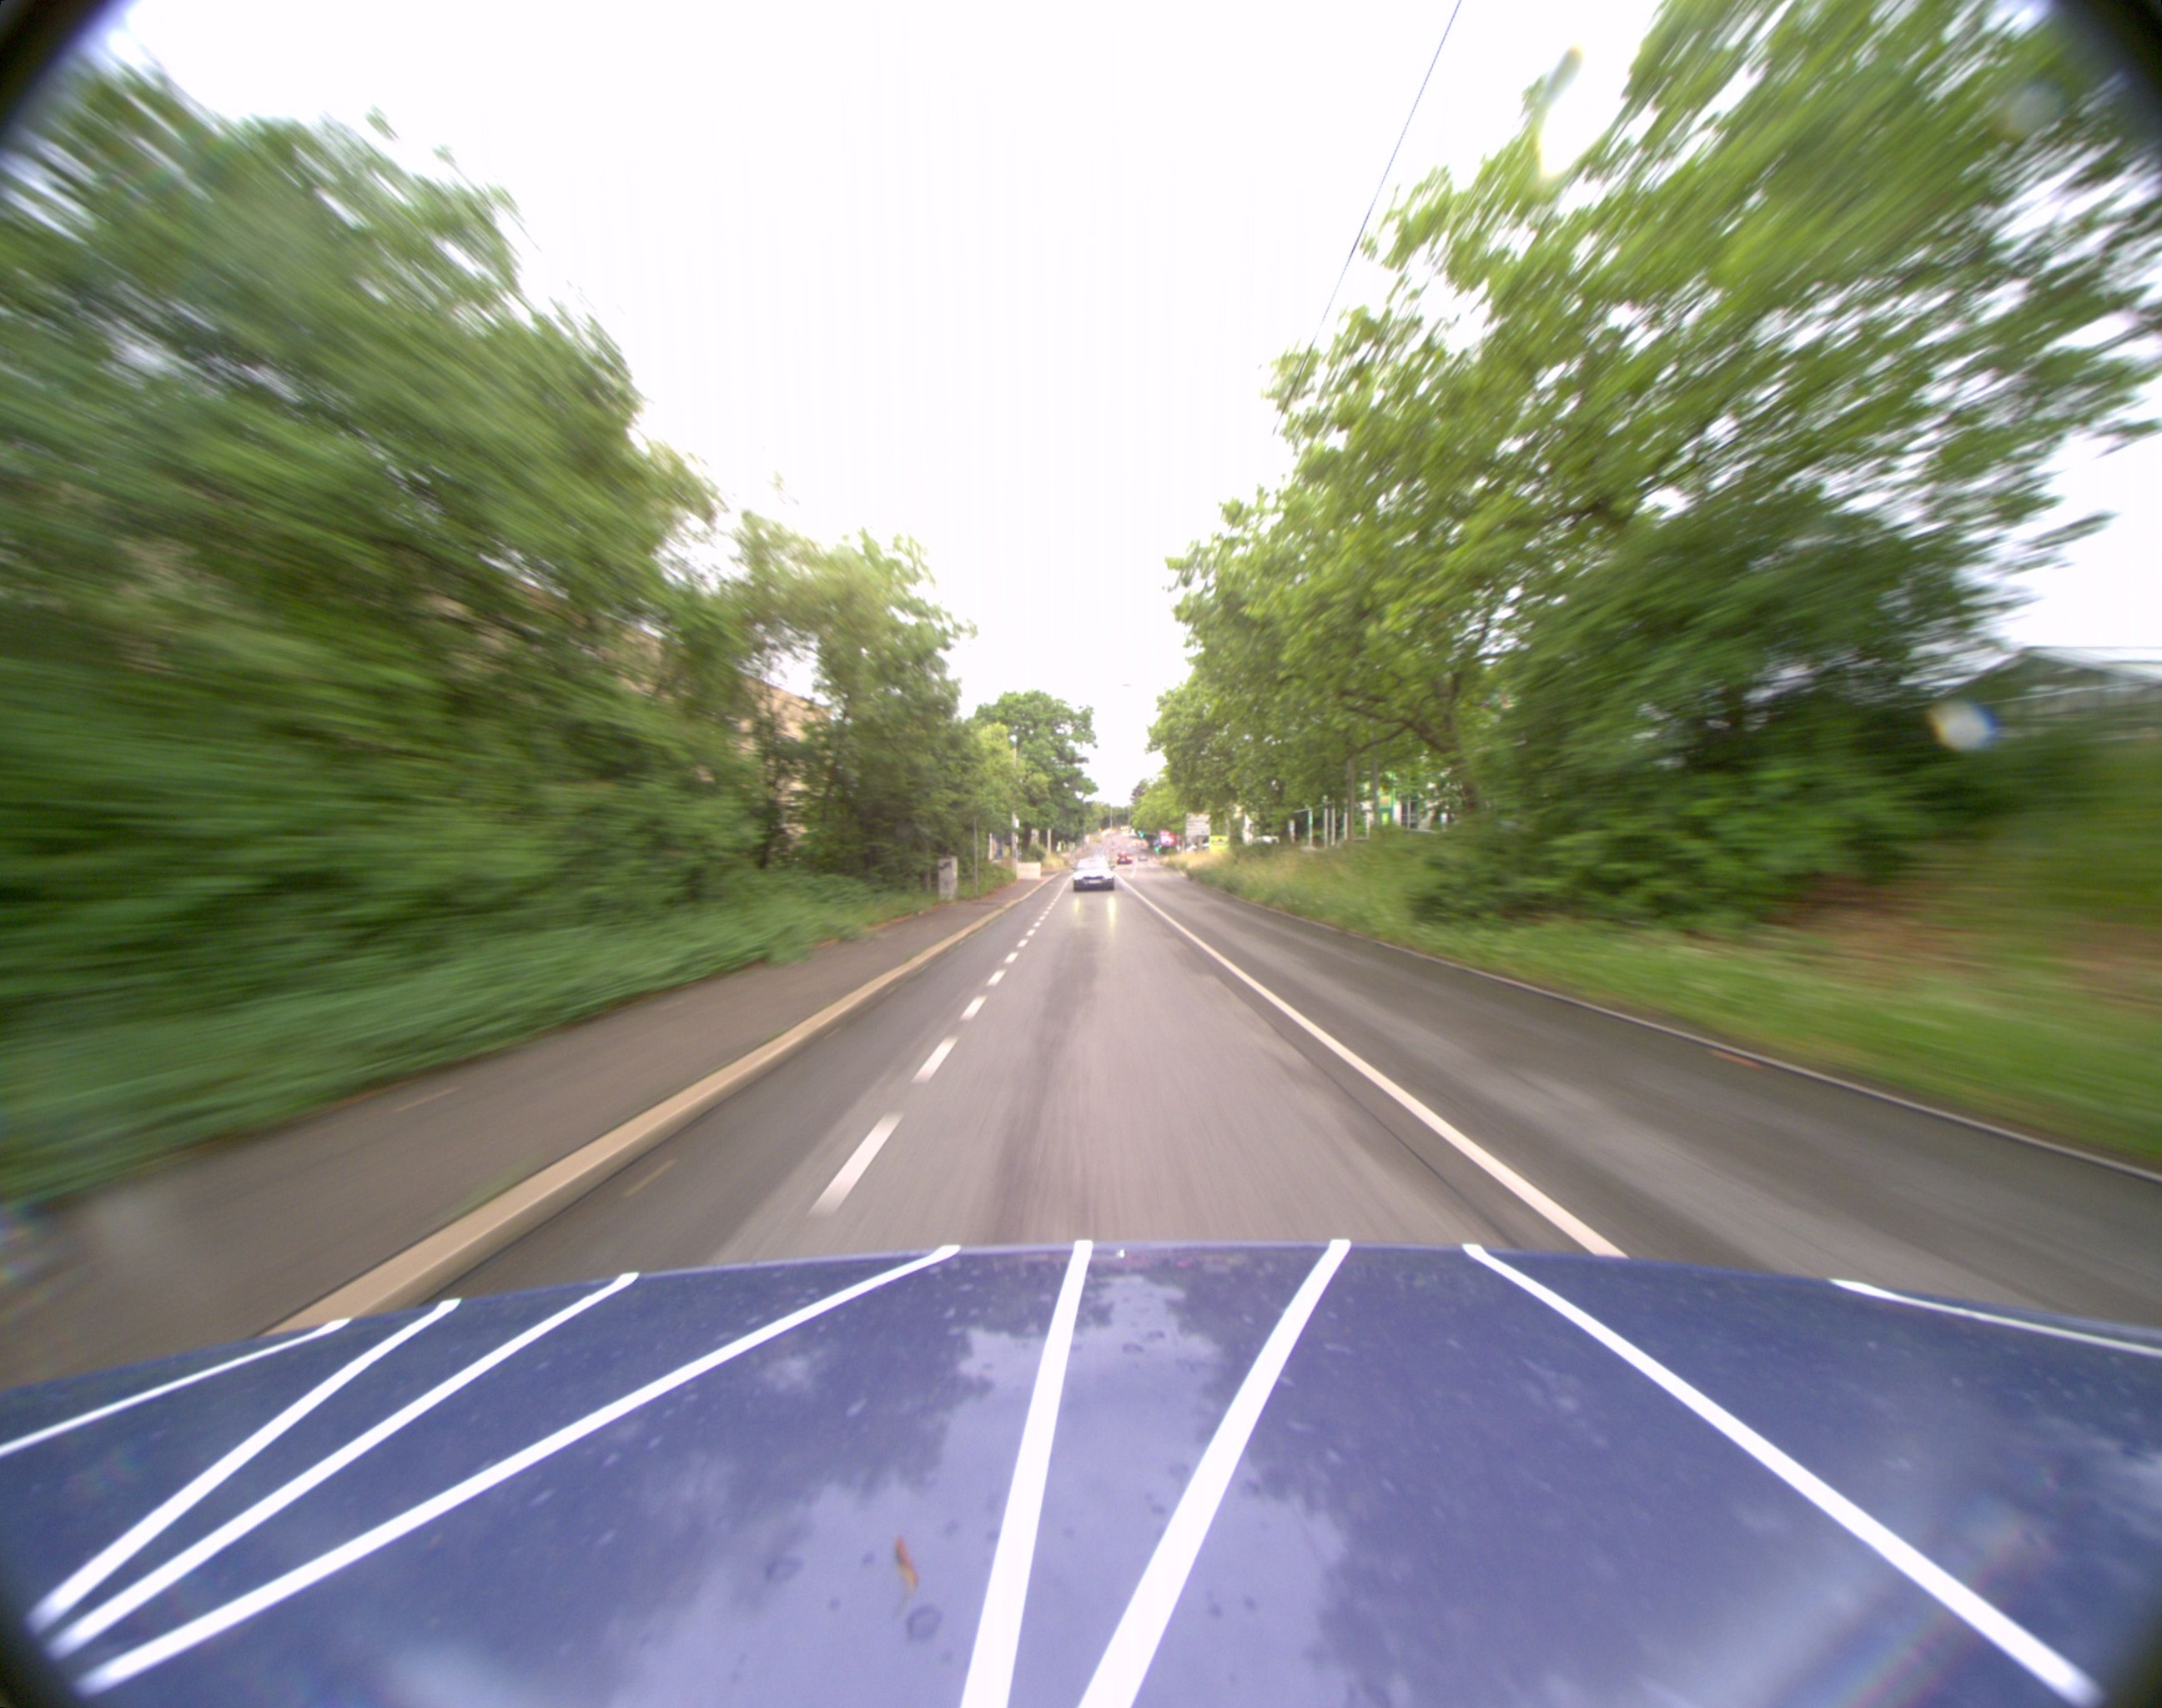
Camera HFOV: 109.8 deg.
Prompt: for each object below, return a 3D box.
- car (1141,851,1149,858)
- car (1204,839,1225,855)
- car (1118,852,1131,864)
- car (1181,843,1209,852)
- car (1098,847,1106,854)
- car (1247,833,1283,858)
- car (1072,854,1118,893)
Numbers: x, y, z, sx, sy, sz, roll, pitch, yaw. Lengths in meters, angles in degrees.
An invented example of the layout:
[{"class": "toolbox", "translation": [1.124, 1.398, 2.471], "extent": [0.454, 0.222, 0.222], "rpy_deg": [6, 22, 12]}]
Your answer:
[{"class": "car", "translation": [13.189, 0.121, 156.890], "extent": [1.380, 1.216, 2.452], "rpy_deg": [0, 2, 1]}, {"class": "car", "translation": [12.551, -0.722, 71.622], "extent": [1.364, 1.387, 3.706], "rpy_deg": [0, 2, 0]}, {"class": "car", "translation": [6.858, 0.686, 120.318], "extent": [2.019, 1.856, 5.042], "rpy_deg": [0, 0, 2]}, {"class": "car", "translation": [24.129, -1.333, 160.873], "extent": [5.370, 1.792, 2.218], "rpy_deg": [-1, 2, -5]}, {"class": "car", "translation": [5.048, -0.849, 180.793], "extent": [1.752, 1.362, 3.755], "rpy_deg": [-4, 2, 0]}, {"class": "car", "translation": [18.439, -0.821, 76.399], "extent": [1.968, 2.429, 5.655], "rpy_deg": [0, -1, -3]}, {"class": "car", "translation": [0.602, 0.811, 33.142], "extent": [1.810, 1.509, 4.052], "rpy_deg": [-3, 0, 1]}]
